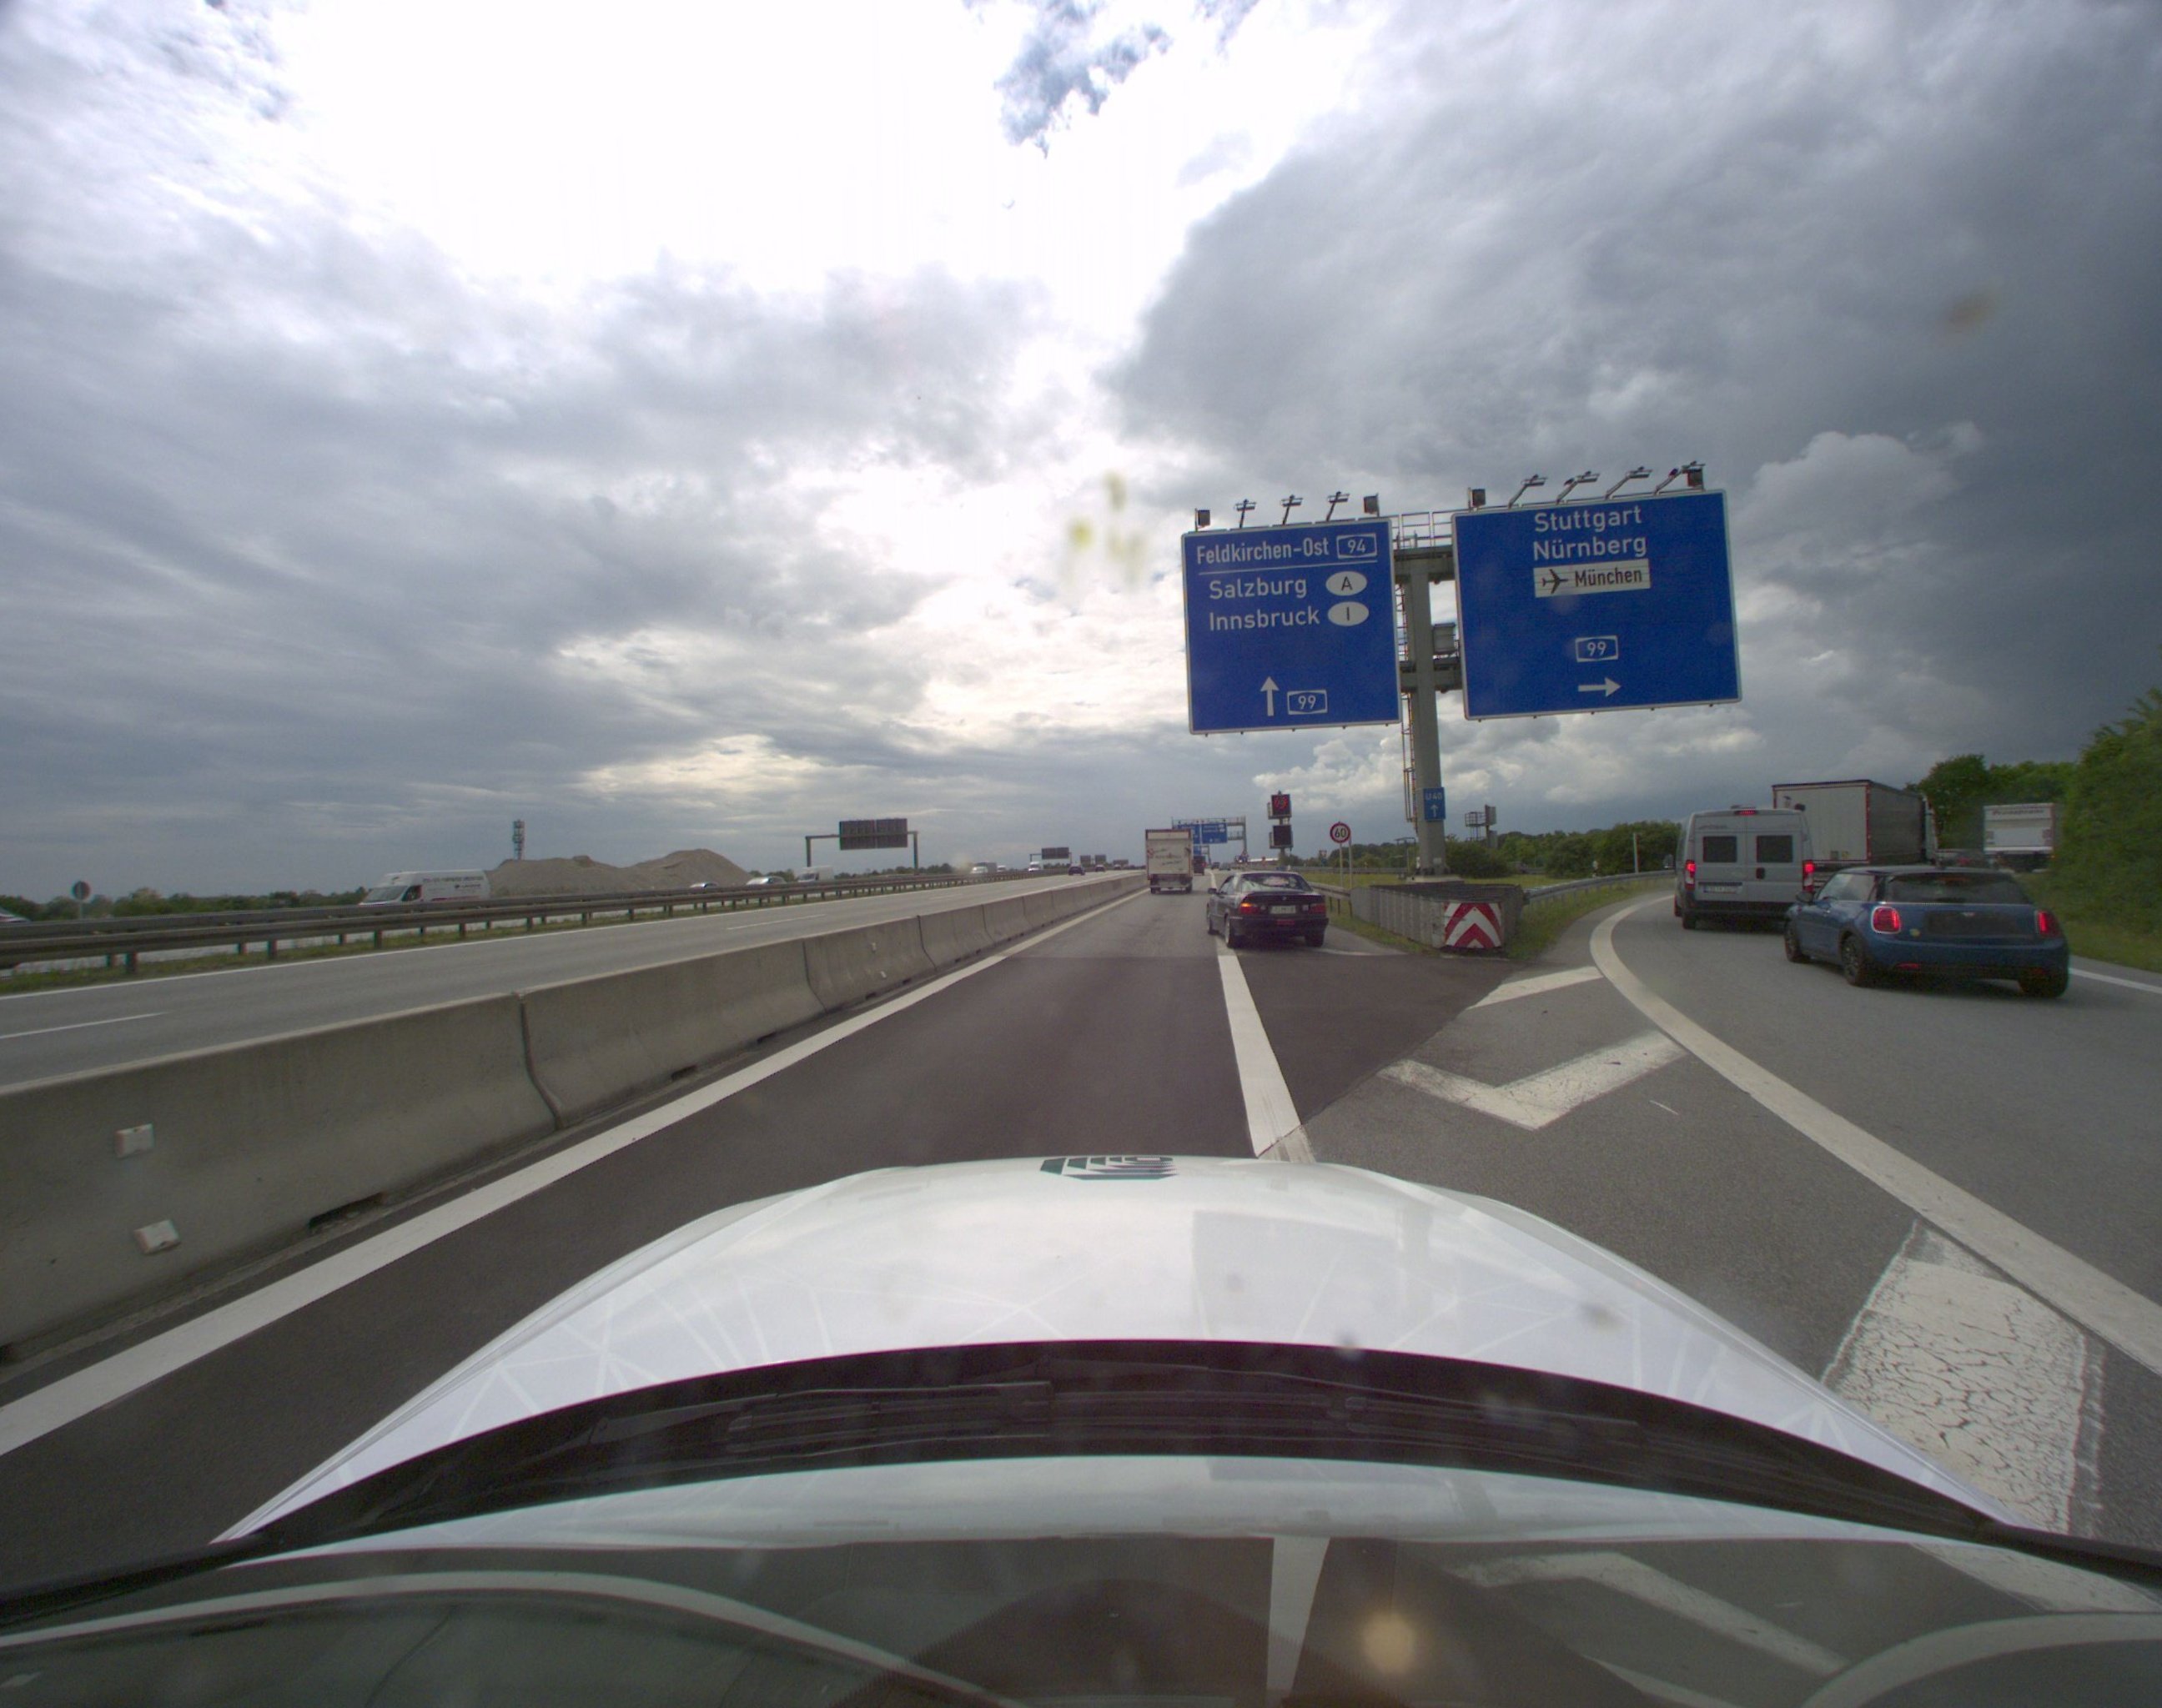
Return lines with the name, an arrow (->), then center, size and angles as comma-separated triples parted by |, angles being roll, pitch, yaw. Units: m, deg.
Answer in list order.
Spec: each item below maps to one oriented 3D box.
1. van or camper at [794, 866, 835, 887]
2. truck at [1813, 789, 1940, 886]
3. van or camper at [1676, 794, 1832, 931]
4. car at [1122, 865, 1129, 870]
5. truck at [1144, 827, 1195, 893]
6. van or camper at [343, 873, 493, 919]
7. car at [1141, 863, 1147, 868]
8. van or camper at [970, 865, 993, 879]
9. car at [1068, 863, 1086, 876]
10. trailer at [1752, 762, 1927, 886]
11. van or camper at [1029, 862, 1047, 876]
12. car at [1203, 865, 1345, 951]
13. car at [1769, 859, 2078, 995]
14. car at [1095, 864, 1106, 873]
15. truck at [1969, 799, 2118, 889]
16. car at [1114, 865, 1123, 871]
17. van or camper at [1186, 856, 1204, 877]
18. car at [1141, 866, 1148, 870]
van or camper -> -29.838, 2.499, 91.343 | 2.176, 2.172, 5.817 | -1, -1, 5
truck -> 37.006, -0.688, 37.823 | 6.822, 4.095, 3.331 | 0, -1, -39
van or camper -> 14.999, 0.173, 18.411 | 2.271, 2.568, 6.200 | -2, -1, 37
car -> 13.203, 4.084, 240.467 | 1.984, 1.398, 4.006 | -1, -1, 5
truck -> 4.631, 0.322, 41.823 | 2.391, 3.090, 6.383 | -1, -1, 8
van or camper -> -33.614, 2.060, 41.637 | 2.225, 2.014, 6.285 | -1, -1, 4
car -> 19.654, 3.597, 254.876 | 1.764, 1.530, 4.008 | -2, -1, 7
van or camper -> -13.330, 2.402, 109.236 | 1.983, 1.829, 4.356 | -1, -1, 7
car -> -0.496, 2.084, 111.038 | 1.983, 1.662, 4.391 | -1, -1, 6
trailer -> 30.922, -1.014, 32.871 | 13.096, 4.193, 3.302 | 0, -1, -39
van or camper -> -8.202, 2.833, 156.005 | 2.176, 2.619, 6.915 | -1, -1, 6
car -> 3.467, 0.919, 15.421 | 1.776, 1.378, 4.137 | -1, -1, 1
car -> 10.490, 0.793, 10.514 | 1.713, 1.419, 3.688 | -1, -1, 28
car -> 3.794, 2.801, 158.201 | 1.984, 1.541, 4.006 | -1, -1, 5
truck -> 53.201, -0.552, 44.979 | 9.010, 4.616, 3.254 | -1, -1, -27
car -> 9.042, 3.338, 198.227 | 1.984, 1.398, 4.006 | -1, -1, 5
van or camper -> 13.321, 1.419, 95.179 | 1.988, 2.371, 6.139 | -2, -1, 8
car -> 19.711, 4.327, 253.527 | 1.984, 1.398, 4.006 | -1, -1, 5
